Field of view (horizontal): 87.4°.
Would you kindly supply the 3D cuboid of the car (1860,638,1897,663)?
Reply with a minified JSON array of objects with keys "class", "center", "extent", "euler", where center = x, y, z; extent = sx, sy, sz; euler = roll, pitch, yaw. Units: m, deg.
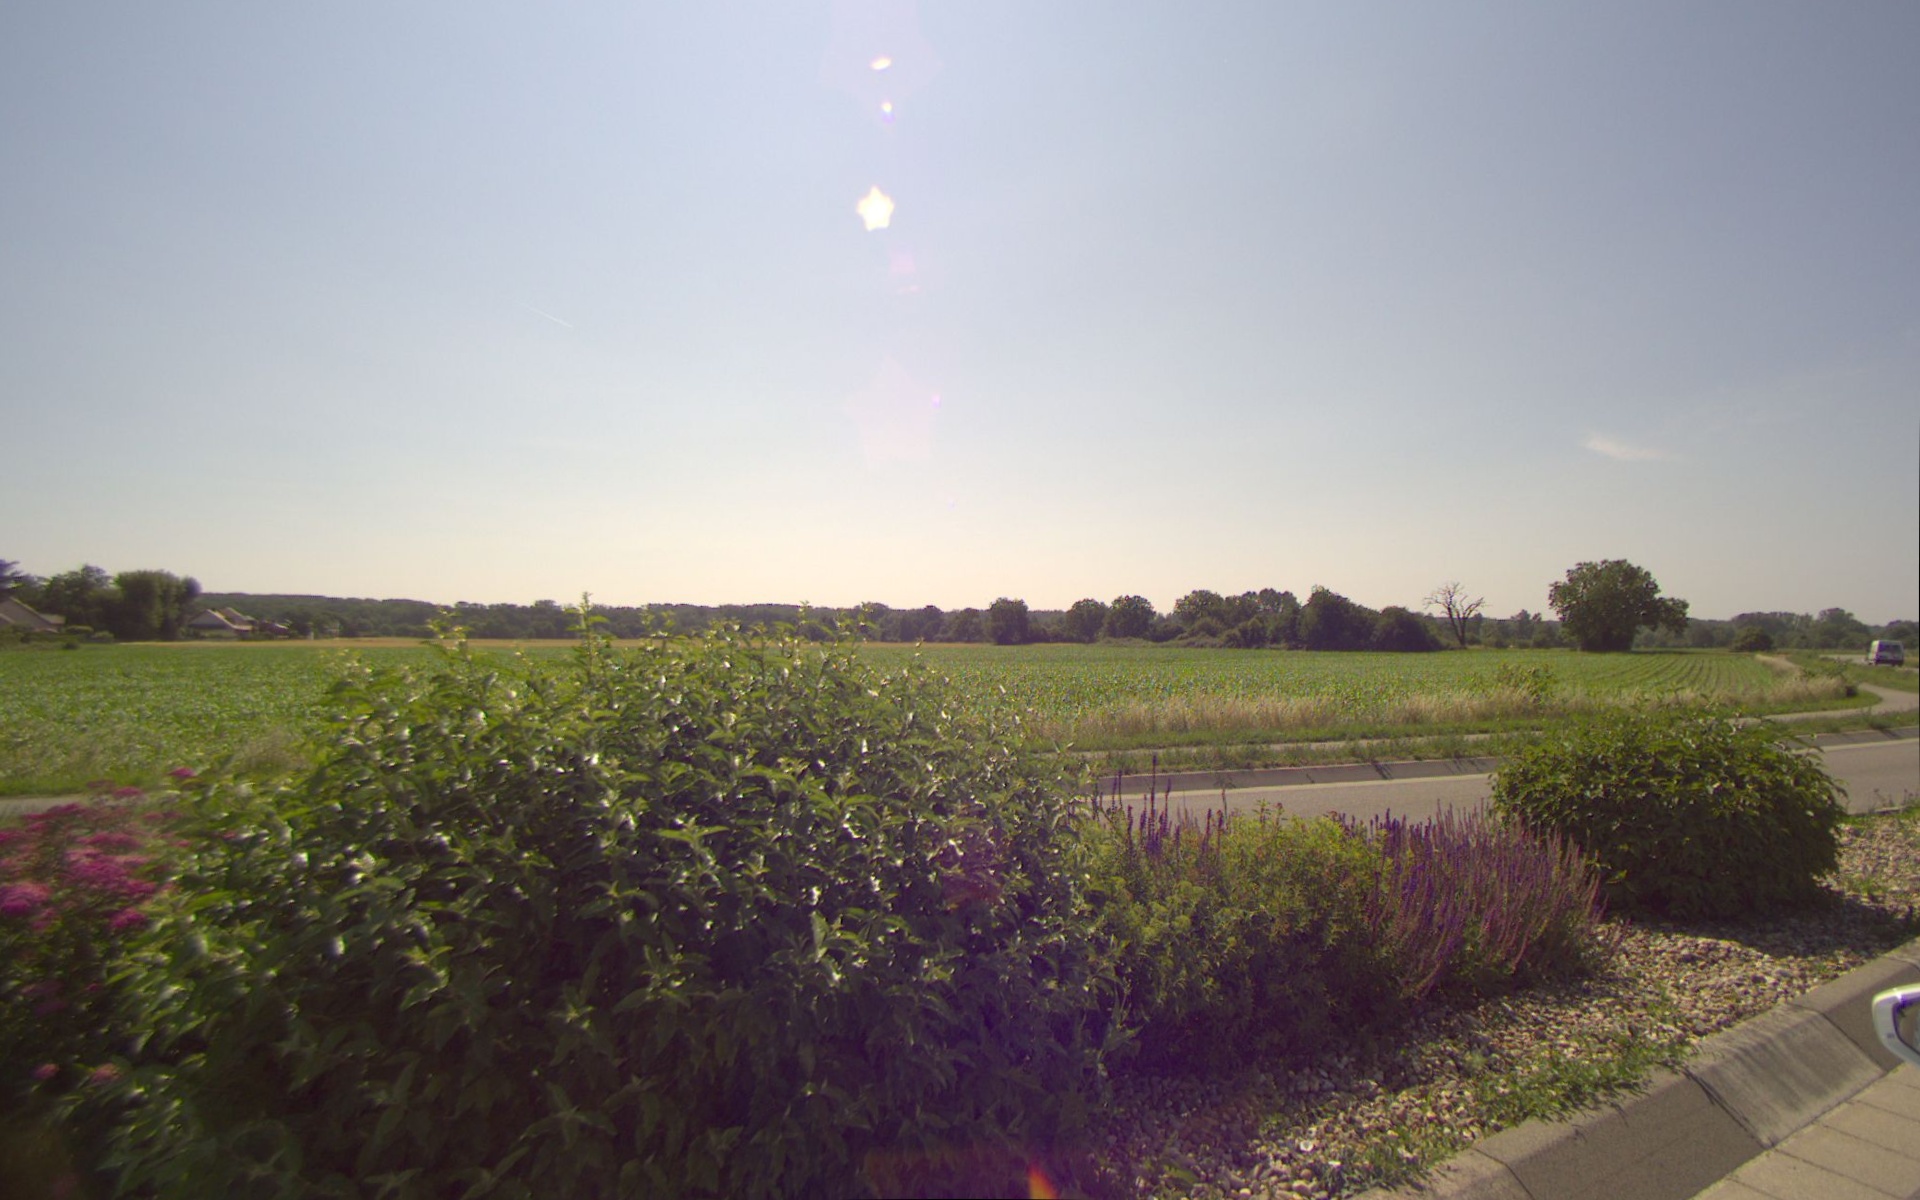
[{"class":"car","center":[89.705,4.902,98.150],"extent":[2.077,2.398,5.666],"euler":[-2,-3,37]}]
